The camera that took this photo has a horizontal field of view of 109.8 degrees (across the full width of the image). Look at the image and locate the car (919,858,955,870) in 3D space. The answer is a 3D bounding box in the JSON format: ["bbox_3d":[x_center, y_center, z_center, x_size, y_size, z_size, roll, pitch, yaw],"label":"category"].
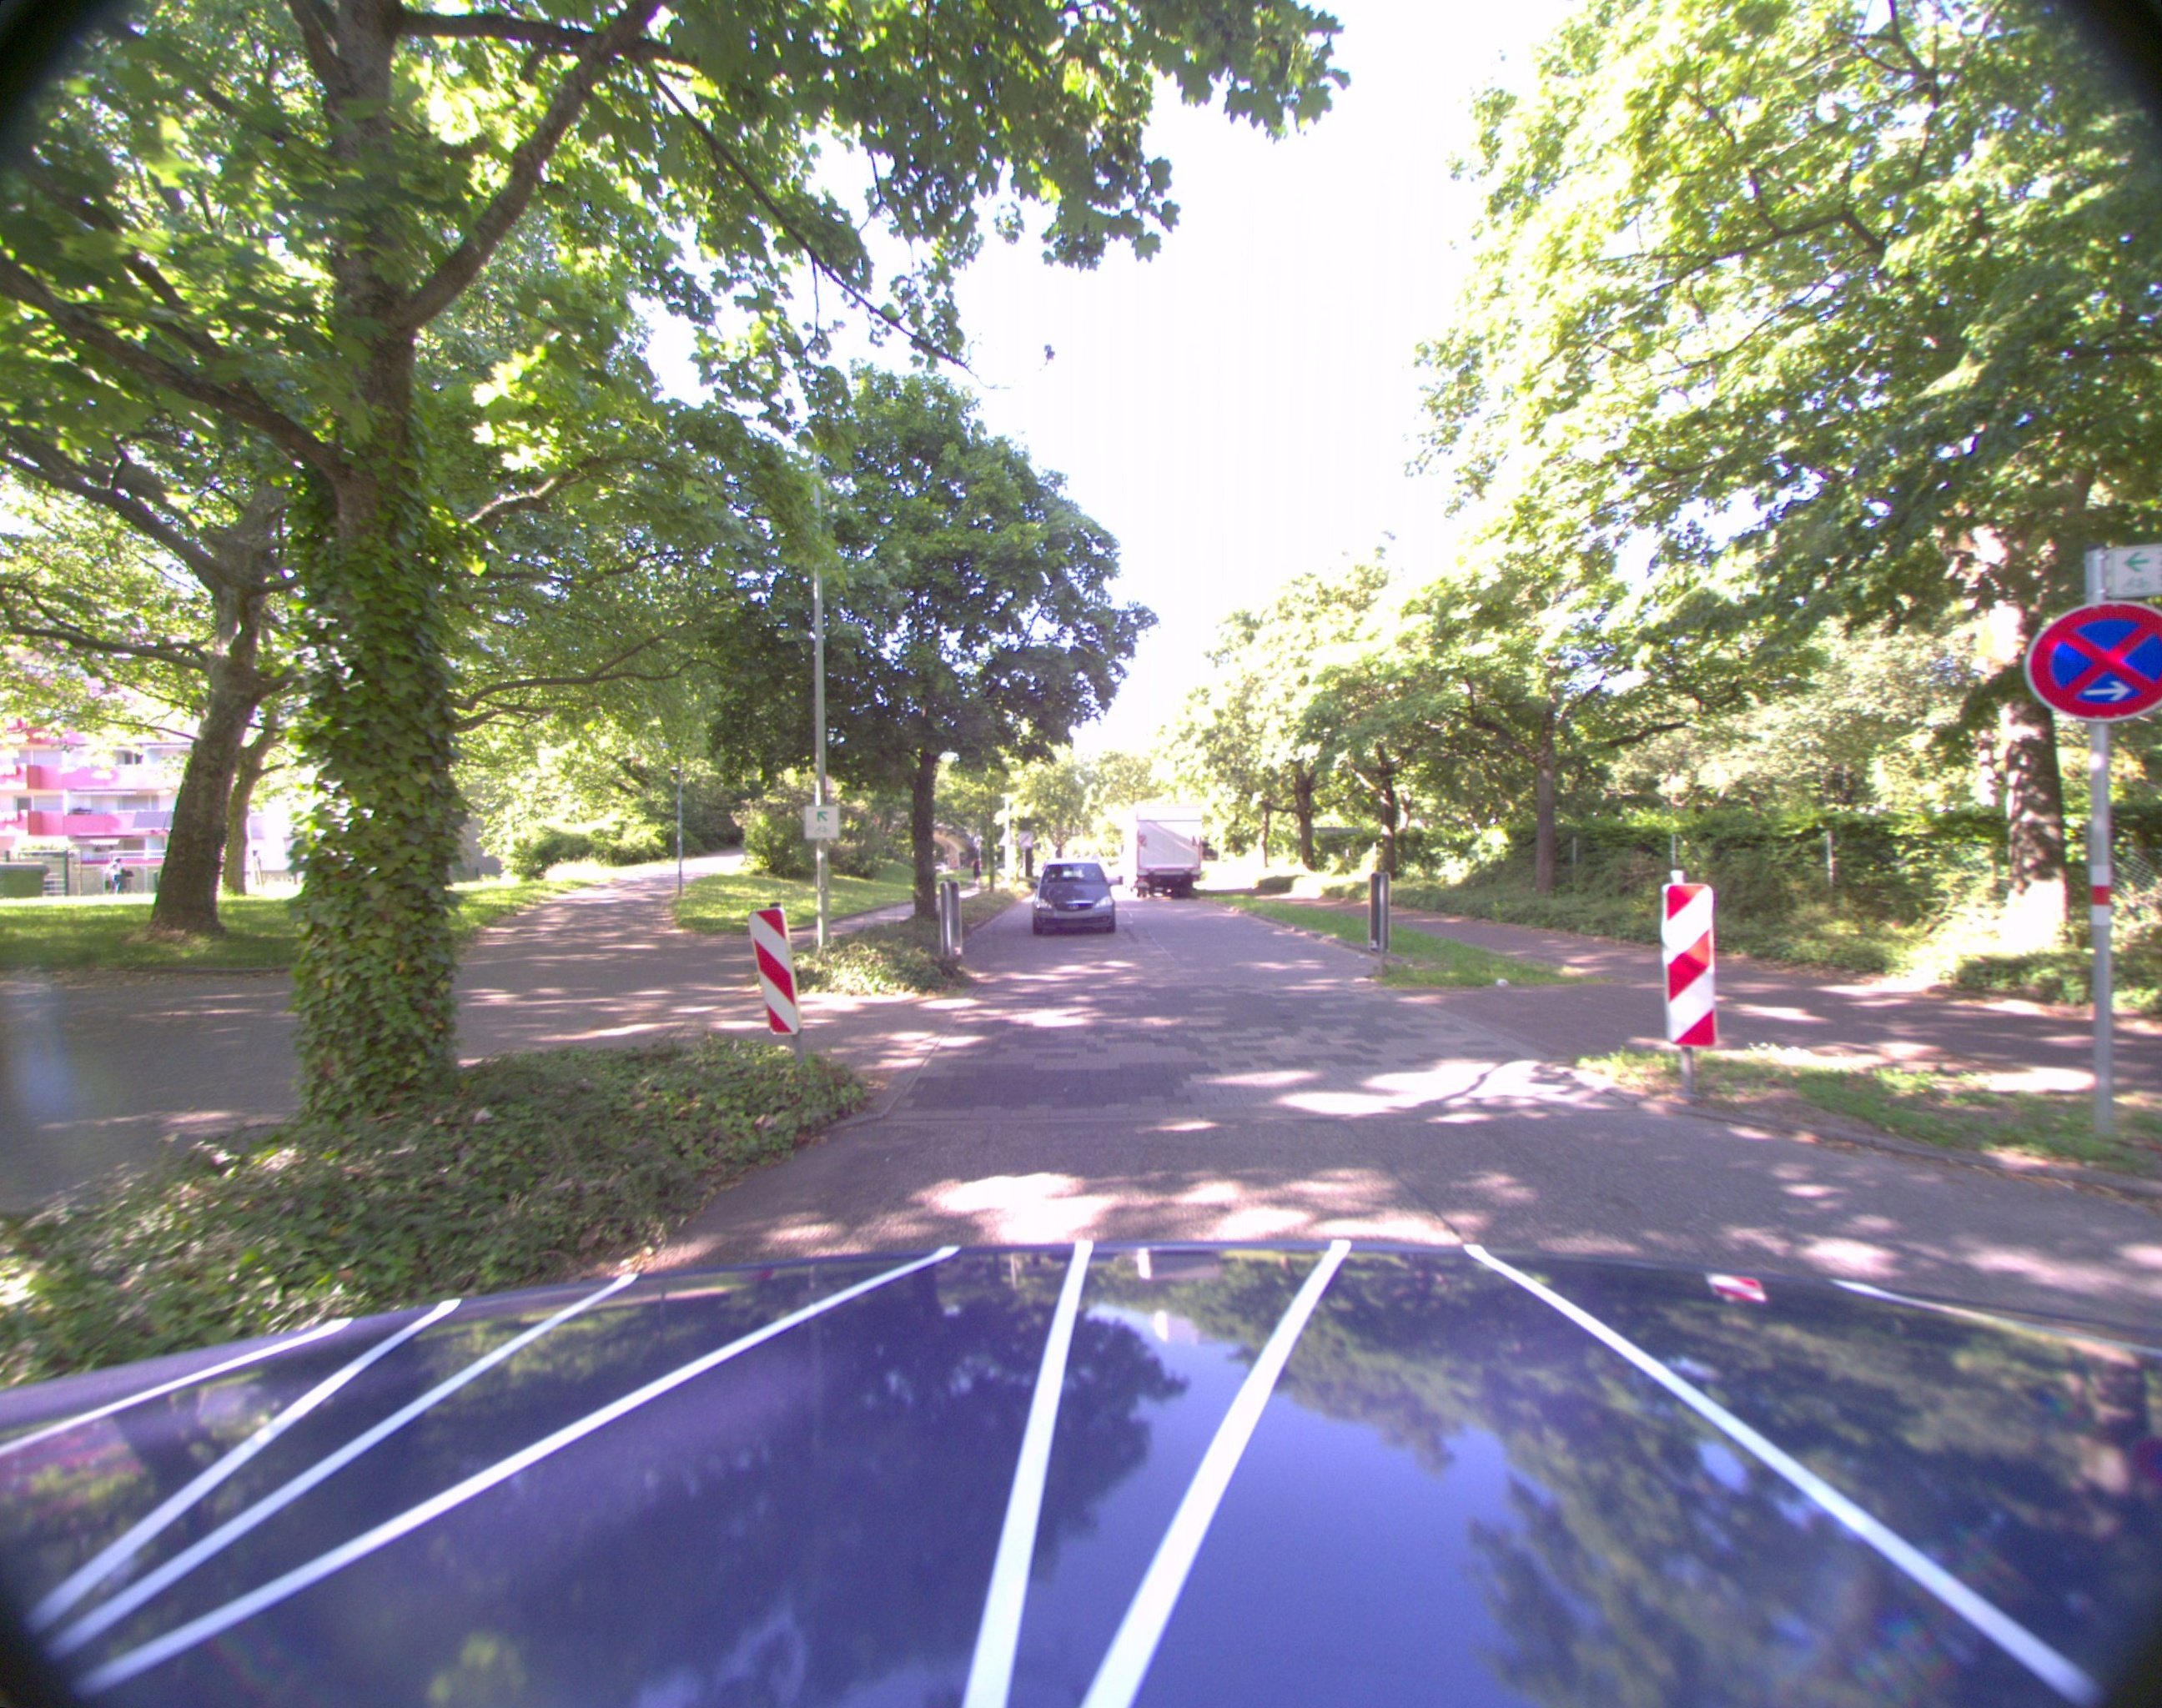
[{"bbox_3d":[-17.718,1.193,93.720,4.089,1.258,1.758,-3,0,1],"label":"car"}]

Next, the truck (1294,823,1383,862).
[{"bbox_3d":[13.760,-0.572,40.737,3.998,2.002,2.203,0,0,-2],"label":"truck"}]

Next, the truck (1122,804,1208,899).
[{"bbox_3d":[3.452,-0.102,33.313,2.741,3.620,8.100,-1,0,-1],"label":"truck"}]

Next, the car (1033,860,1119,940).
[{"bbox_3d":[-0.190,0.956,17.592,1.734,1.578,3.999,-1,0,-2],"label":"car"}]

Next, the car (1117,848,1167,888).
[{"bbox_3d":[3.349,0.743,43.150,2.125,2.083,6.583,-1,0,-2],"label":"car"}]

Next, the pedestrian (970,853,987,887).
[{"bbox_3d":[-5.683,0.891,42.009,0.793,1.821,0.671,-1,1,0],"label":"pedestrian"}]

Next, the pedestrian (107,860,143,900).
[{"bbox_3d":[-38.884,1.049,30.909,0.627,1.579,0.679,-3,1,-30],"label":"pedestrian"}]
